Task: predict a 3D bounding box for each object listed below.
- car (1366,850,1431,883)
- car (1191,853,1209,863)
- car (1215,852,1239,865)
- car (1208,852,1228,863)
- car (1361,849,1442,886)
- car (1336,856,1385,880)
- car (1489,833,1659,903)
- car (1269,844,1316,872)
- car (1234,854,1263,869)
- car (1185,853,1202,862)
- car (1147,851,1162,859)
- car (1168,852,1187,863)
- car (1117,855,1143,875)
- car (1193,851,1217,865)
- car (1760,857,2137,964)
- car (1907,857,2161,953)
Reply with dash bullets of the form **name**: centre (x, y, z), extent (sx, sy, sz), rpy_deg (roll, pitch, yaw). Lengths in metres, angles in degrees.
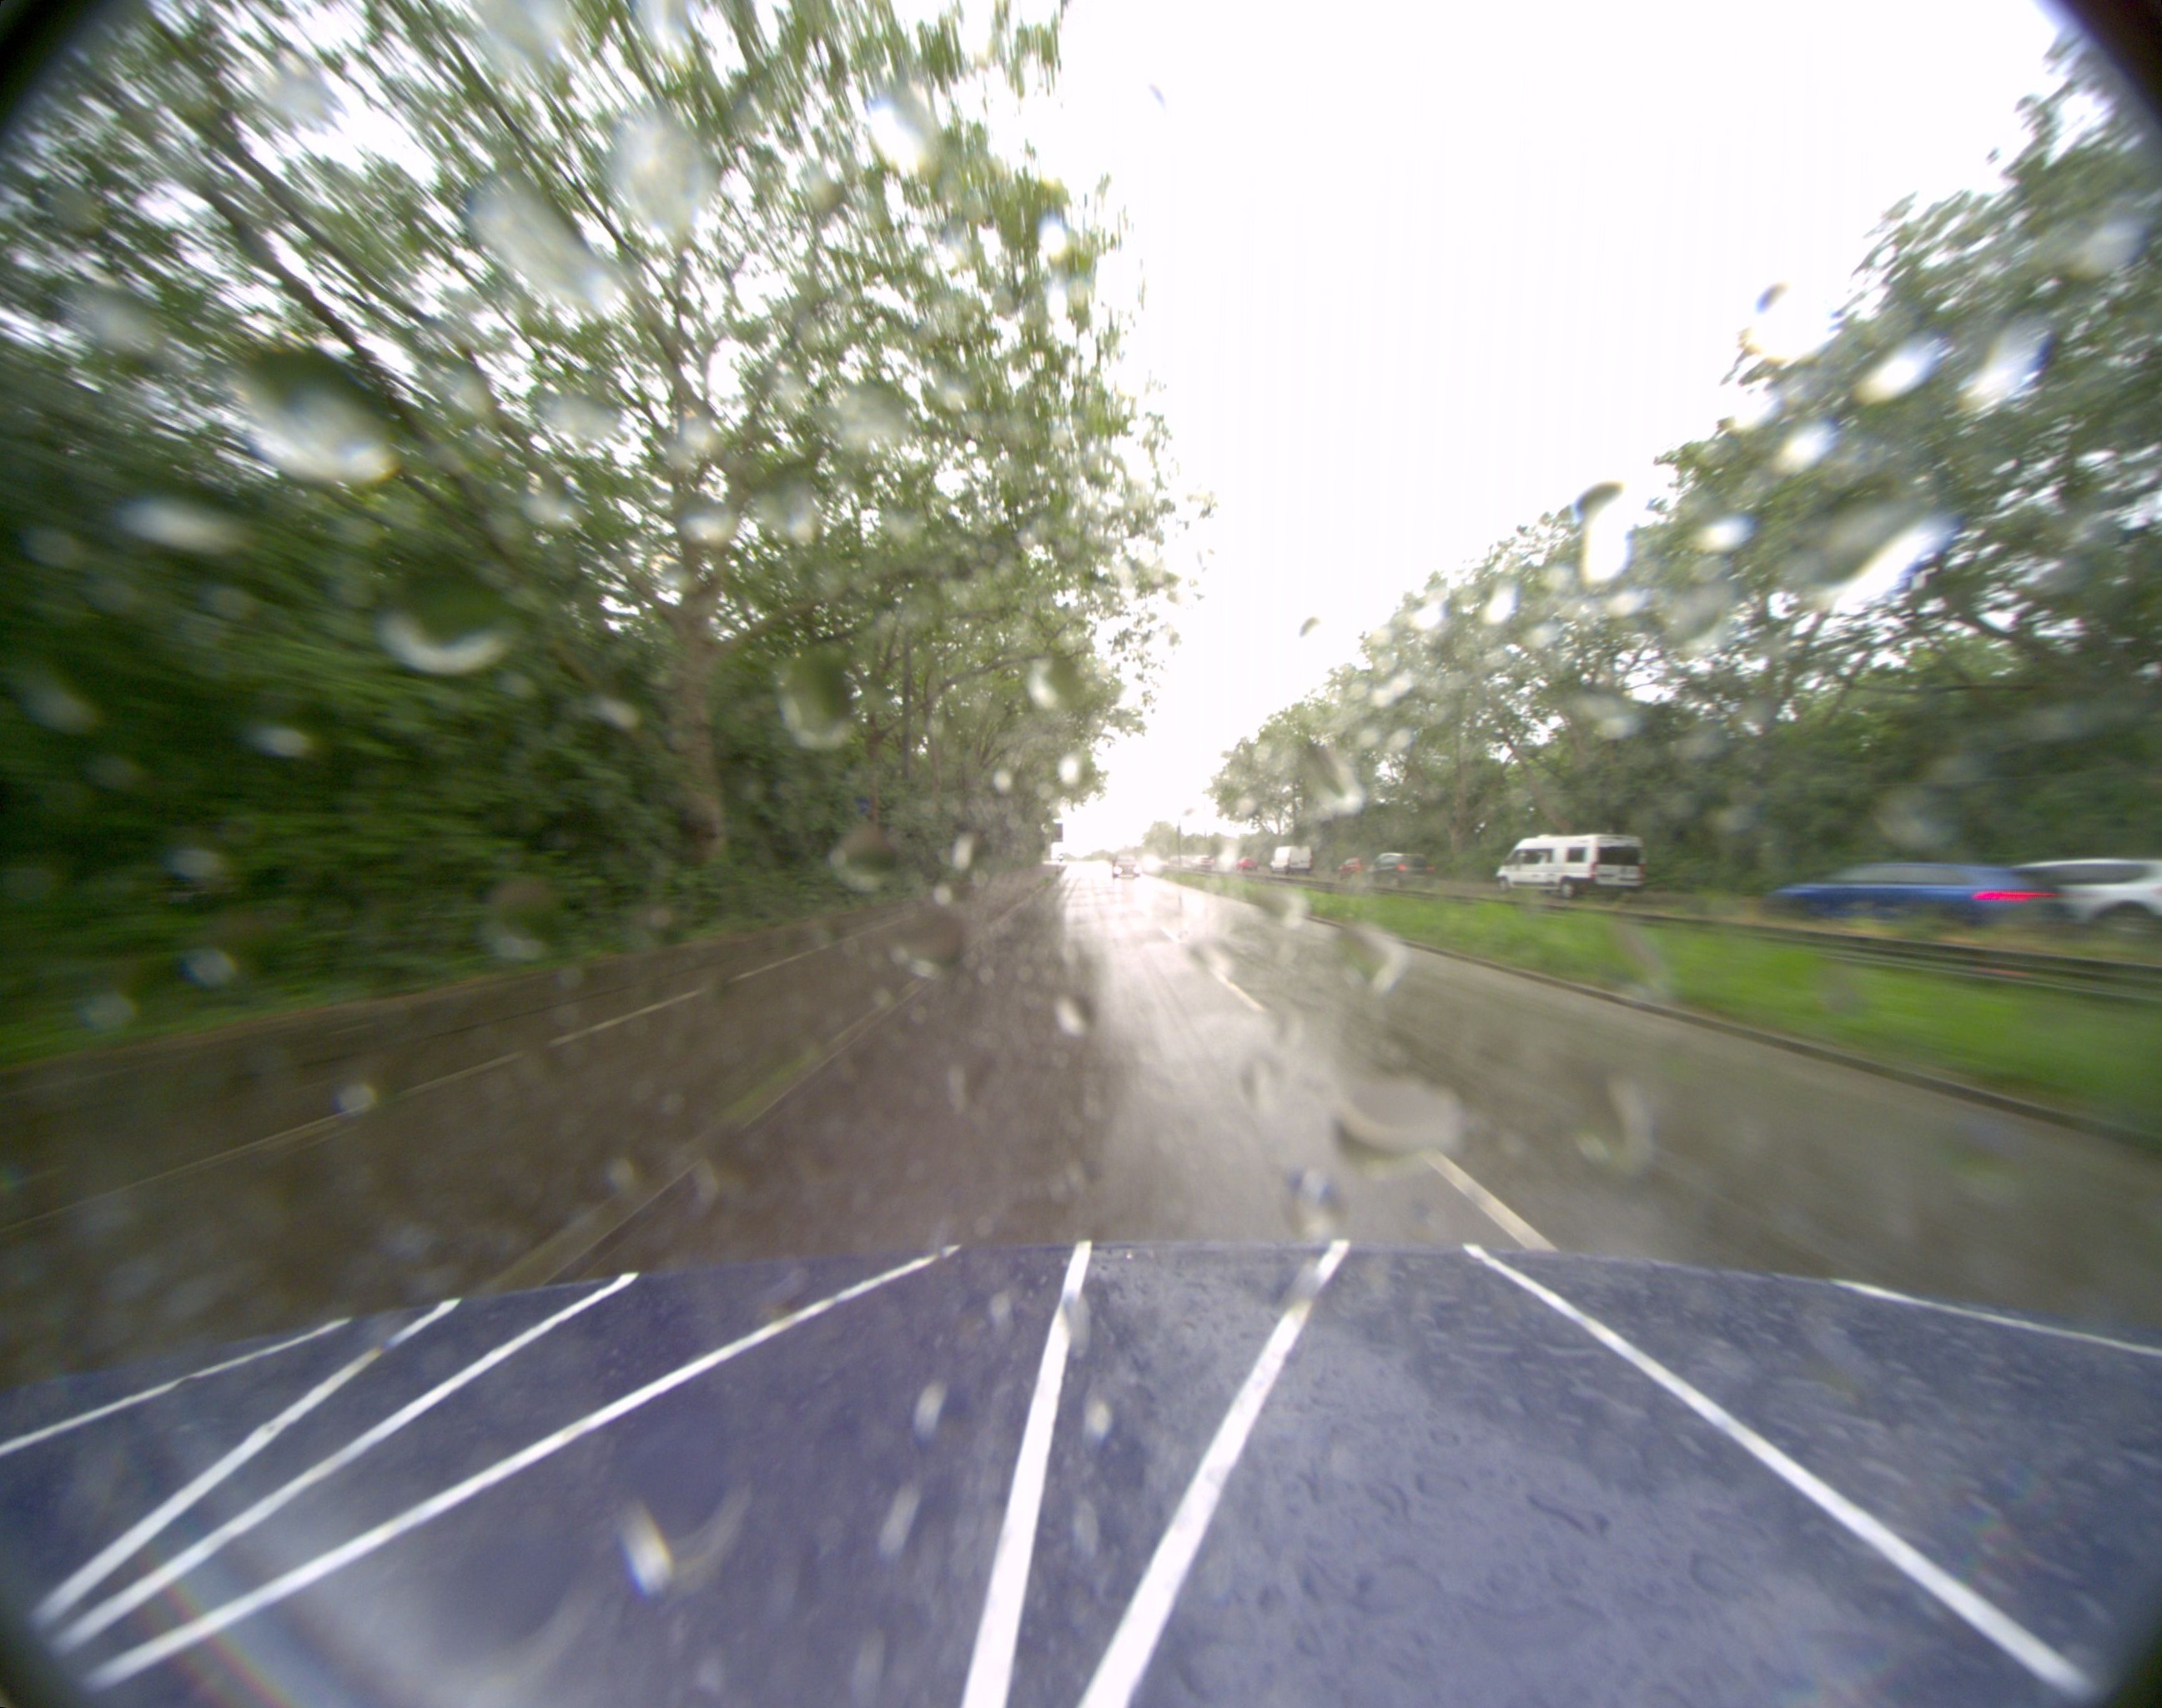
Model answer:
- **car**: centre (19.376, 0.726, 46.647), extent (1.962, 1.851, 4.639), rpy_deg (1, 0, -1)
- **car**: centre (17.691, 0.566, 113.205), extent (1.891, 1.502, 4.577), rpy_deg (1, 0, -2)
- **car**: centre (18.235, 0.592, 95.106), extent (2.039, 1.543, 4.383), rpy_deg (1, 0, -3)
- **car**: centre (18.051, 0.491, 100.369), extent (1.890, 1.371, 3.964), rpy_deg (1, 0, -2)
- **car**: centre (15.812, 0.622, 37.750), extent (2.037, 1.741, 4.258), rpy_deg (1, 0, -3)
- **car**: centre (19.258, 0.909, 52.593), extent (1.822, 1.543, 4.024), rpy_deg (1, 0, -1)
- **car**: centre (19.770, 0.506, 31.047), extent (2.396, 2.526, 6.564), rpy_deg (1, 0, -3)
- **car**: centre (18.901, 0.306, 68.397), extent (2.336, 2.432, 6.137), rpy_deg (1, 1, -2)
- **car**: centre (18.441, 0.822, 84.020), extent (2.039, 1.543, 4.383), rpy_deg (1, 0, -3)
- **car**: centre (17.631, 0.514, 118.800), extent (1.653, 1.423, 4.130), rpy_deg (1, 0, -6)
- **car**: centre (13.757, 0.170, 142.946), extent (2.039, 1.543, 4.995), rpy_deg (1, 0, -3)
- **car**: centre (14.185, 0.515, 111.864), extent (2.038, 1.543, 4.566), rpy_deg (0, 0, -1)
- **car**: centre (3.634, 0.805, 56.726), extent (1.726, 1.425, 3.851), rpy_deg (-1, 0, 1)
- **car**: centre (15.029, 0.436, 92.263), extent (1.984, 1.558, 4.767), rpy_deg (1, 0, -2)
- **car**: centre (16.802, 0.977, 15.211), extent (2.037, 1.741, 4.692), rpy_deg (1, 0, -3)
- **car**: centre (20.465, 0.949, 15.680), extent (1.755, 1.718, 4.530), rpy_deg (1, 0, -3)
